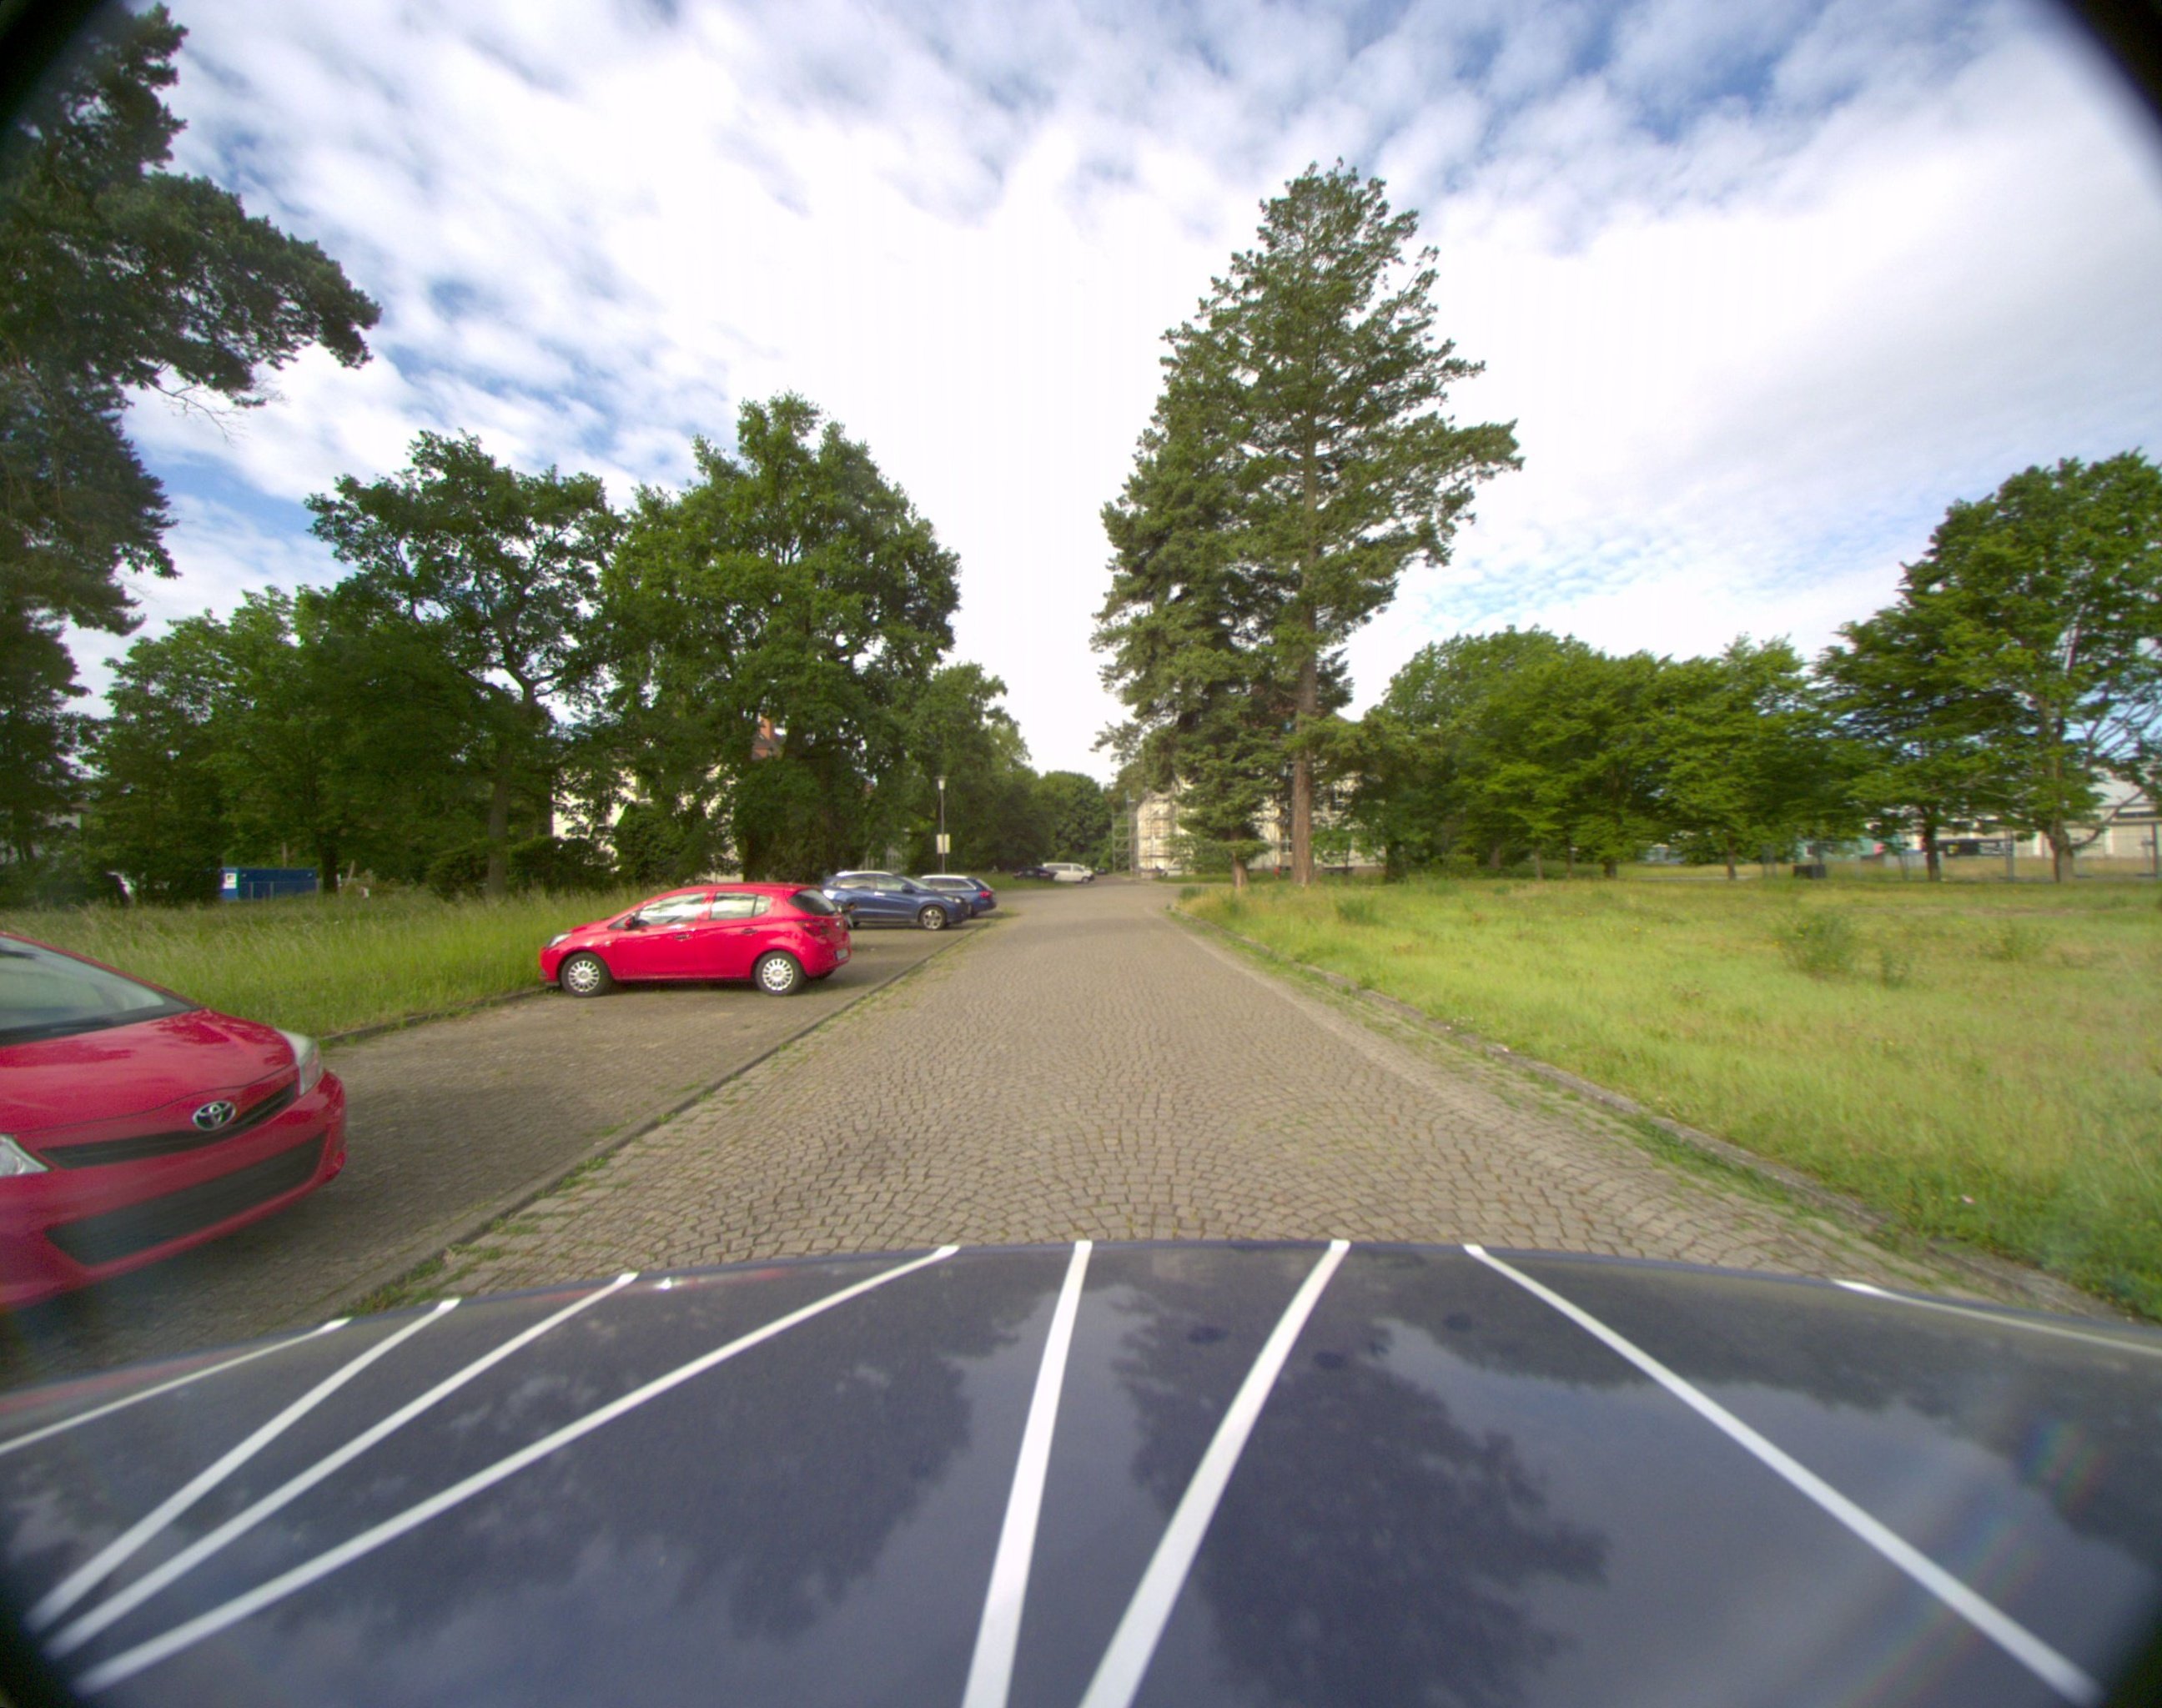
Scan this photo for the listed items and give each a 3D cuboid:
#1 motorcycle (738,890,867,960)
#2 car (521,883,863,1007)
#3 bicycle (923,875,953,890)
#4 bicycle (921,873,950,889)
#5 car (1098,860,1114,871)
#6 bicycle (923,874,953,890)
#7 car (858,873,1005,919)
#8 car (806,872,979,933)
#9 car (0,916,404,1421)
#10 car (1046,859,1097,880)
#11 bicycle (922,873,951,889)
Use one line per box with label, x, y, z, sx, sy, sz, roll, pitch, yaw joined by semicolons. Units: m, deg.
motorcycle;-5.445;1.376;14.942;2.271;1.267;0.605;-1;0;-5
car;-5.214;1.194;10.577;3.849;1.496;1.738;0;-1;-1
bicycle;-10.279;2.019;54.568;2.020;1.004;0.478;-1;2;-22
bicycle;-10.652;1.999;55.638;2.020;1.082;0.478;-1;2;-22
car;4.663;2.199;140.580;2.029;1.915;3.997;-1;-1;-11
bicycle;-10.169;2.008;54.089;2.020;1.082;0.478;-1;2;-22
car;-4.974;1.395;25.667;4.515;1.456;1.896;0;-1;3
car;-5.075;1.288;20.902;4.274;1.564;1.895;0;-1;0
car;-5.462;1.112;2.988;3.997;1.509;1.738;-1;0;0
car;-0.985;1.501;74.395;4.916;1.982;2.000;-1;0;-3
bicycle;-10.719;1.990;56.275;2.020;1.082;0.478;-1;2;-22
